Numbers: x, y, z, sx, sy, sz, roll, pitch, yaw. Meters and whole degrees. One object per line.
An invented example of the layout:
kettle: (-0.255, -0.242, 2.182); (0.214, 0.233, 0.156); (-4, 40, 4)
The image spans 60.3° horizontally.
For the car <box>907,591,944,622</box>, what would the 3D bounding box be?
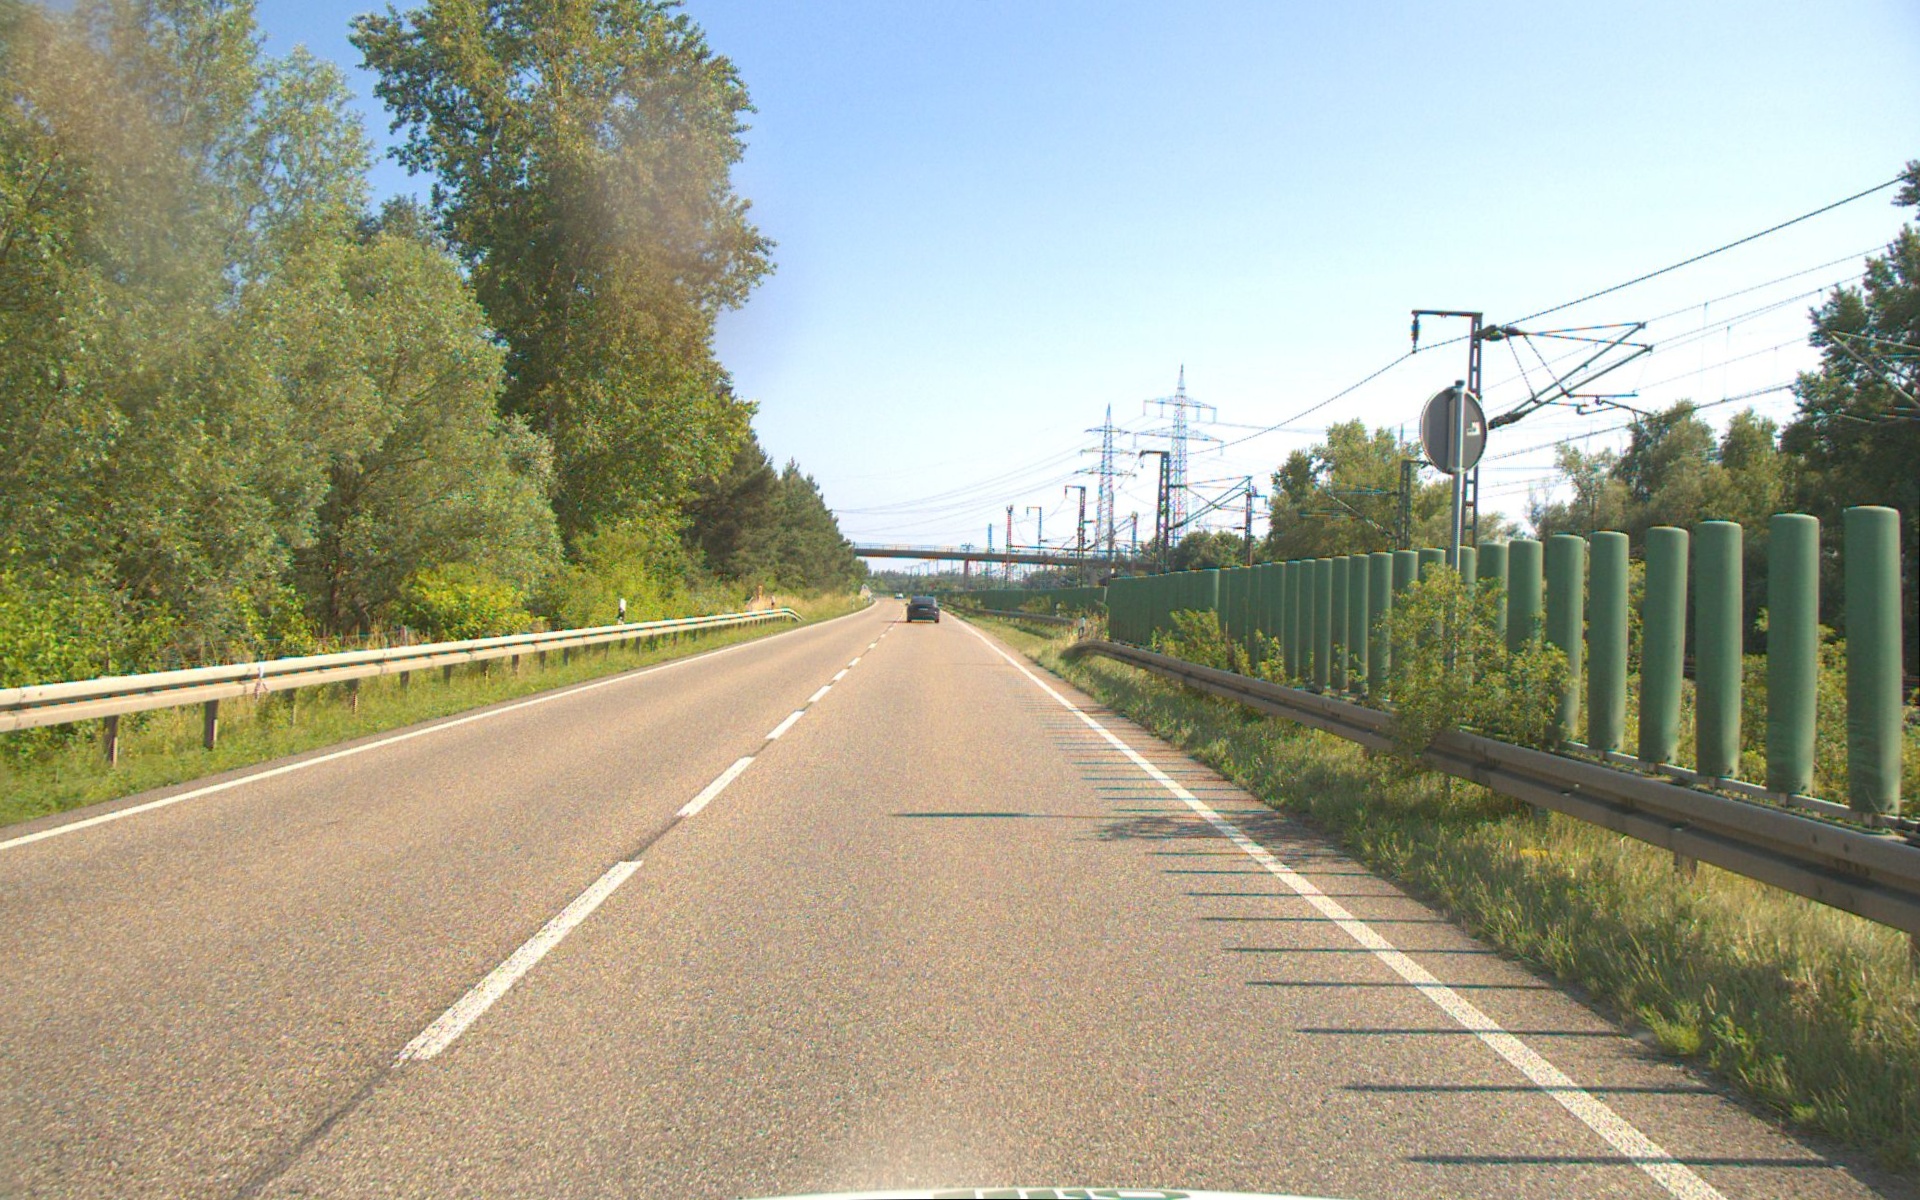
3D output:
car: (-1.942, 0.346, 92.692); (1.822, 1.670, 3.996); (0, 0, -5)
